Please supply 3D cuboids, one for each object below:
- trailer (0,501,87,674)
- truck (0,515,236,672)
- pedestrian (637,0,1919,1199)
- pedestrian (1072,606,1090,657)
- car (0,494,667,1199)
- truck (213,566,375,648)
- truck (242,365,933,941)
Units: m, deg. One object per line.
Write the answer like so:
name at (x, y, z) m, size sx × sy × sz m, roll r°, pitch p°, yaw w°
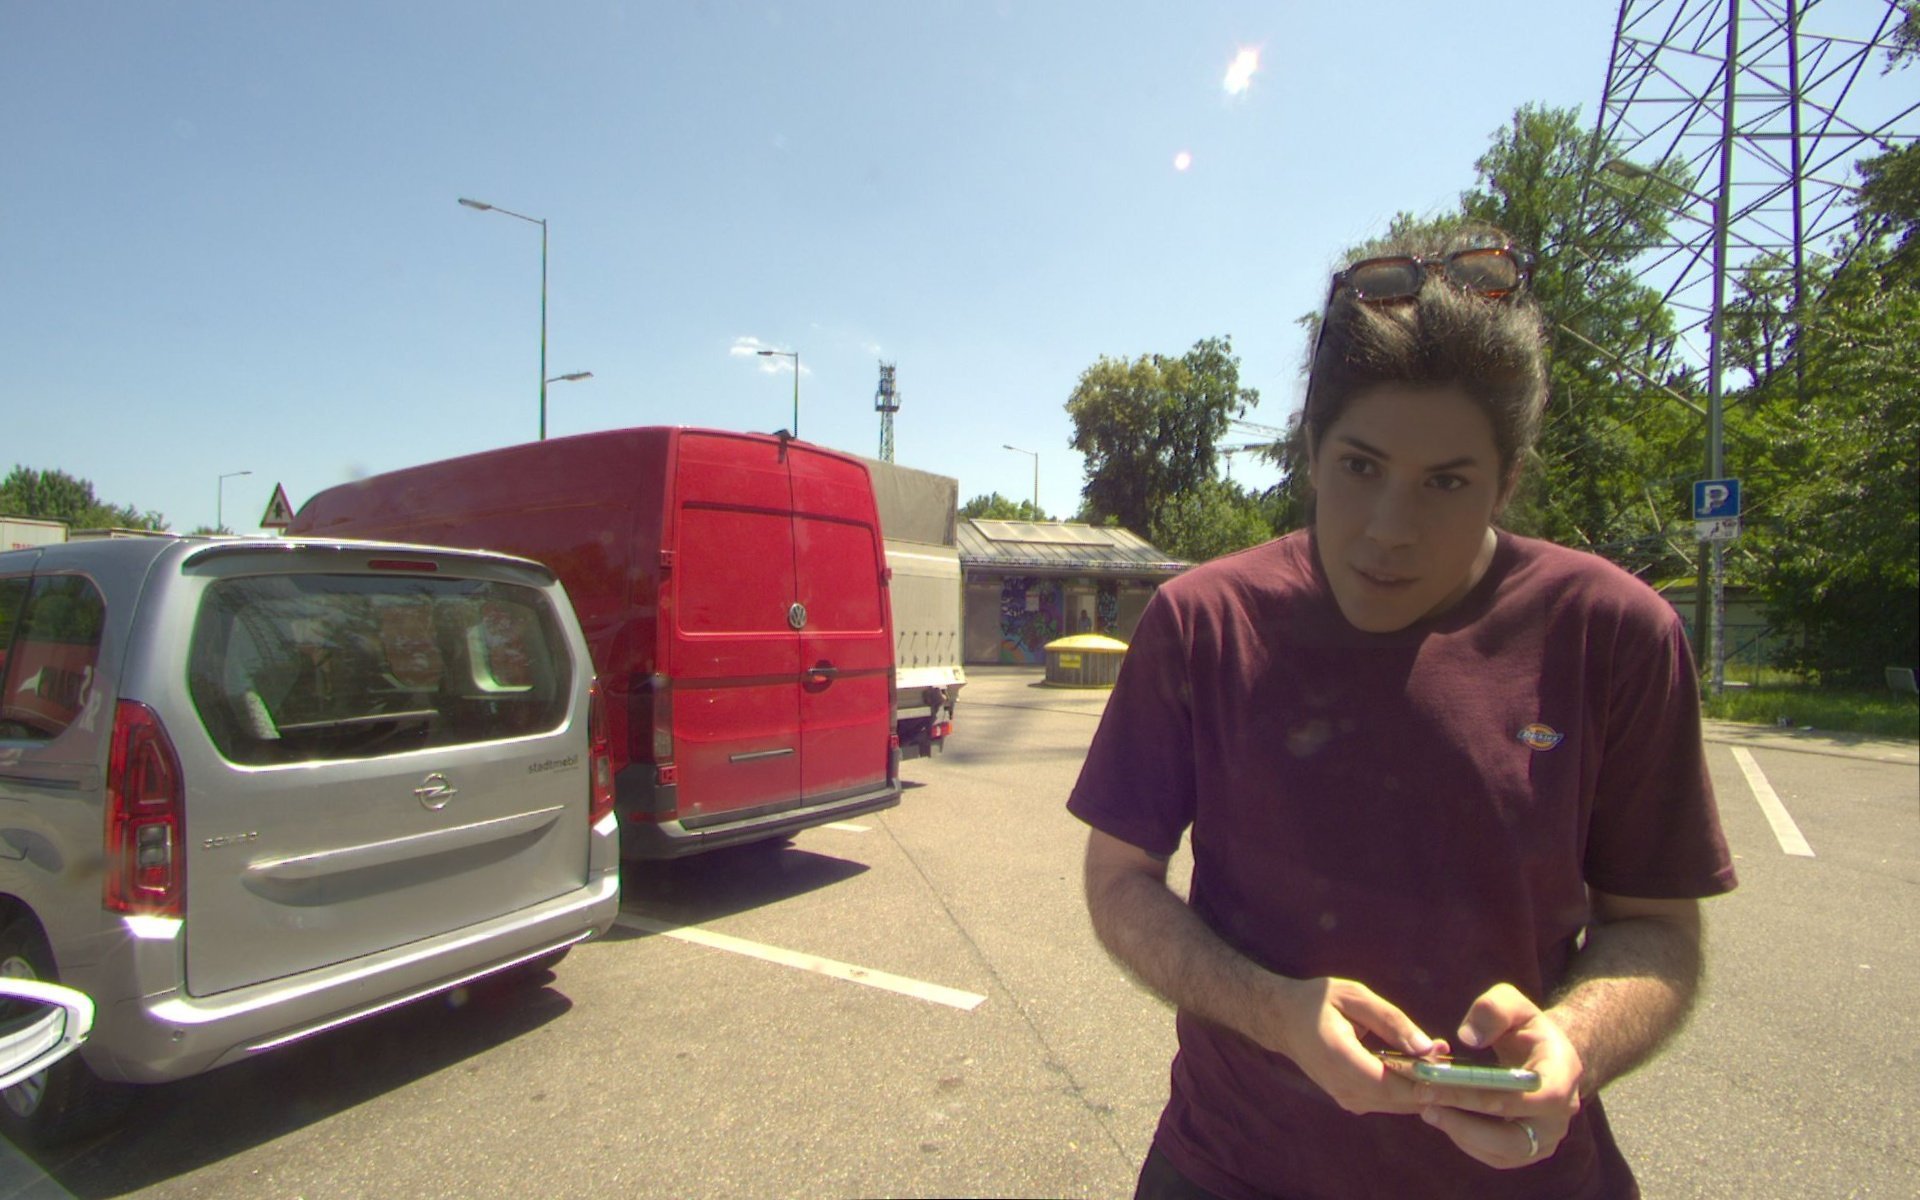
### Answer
trailer at (-28.803, -0.317, 28.030) m, size 13.374 × 4.178 × 2.871 m, roll 0°, pitch -1°, yaw 33°
truck at (-27.998, -0.119, 31.784) m, size 14.316 × 4.175 × 2.901 m, roll 0°, pitch -3°, yaw 33°
pedestrian at (0.363, 0.506, 0.873) m, size 0.926 × 1.798 × 0.827 m, roll 1°, pitch 0°, yaw 28°
pedestrian at (3.702, 0.953, 30.608) m, size 0.453 × 1.535 × 0.375 m, roll 1°, pitch 0°, yaw -2°
car at (-3.352, 0.643, 4.216) m, size 3.938 × 1.776 × 1.824 m, roll 0°, pitch -1°, yaw 29°
truck at (-30.718, 0.333, 46.072) m, size 8.407 × 3.482 × 3.019 m, roll 0°, pitch -1°, yaw 33°
truck at (-2.866, 0.268, 7.001) m, size 5.233 × 2.658 × 1.987 m, roll 0°, pitch -1°, yaw 37°
